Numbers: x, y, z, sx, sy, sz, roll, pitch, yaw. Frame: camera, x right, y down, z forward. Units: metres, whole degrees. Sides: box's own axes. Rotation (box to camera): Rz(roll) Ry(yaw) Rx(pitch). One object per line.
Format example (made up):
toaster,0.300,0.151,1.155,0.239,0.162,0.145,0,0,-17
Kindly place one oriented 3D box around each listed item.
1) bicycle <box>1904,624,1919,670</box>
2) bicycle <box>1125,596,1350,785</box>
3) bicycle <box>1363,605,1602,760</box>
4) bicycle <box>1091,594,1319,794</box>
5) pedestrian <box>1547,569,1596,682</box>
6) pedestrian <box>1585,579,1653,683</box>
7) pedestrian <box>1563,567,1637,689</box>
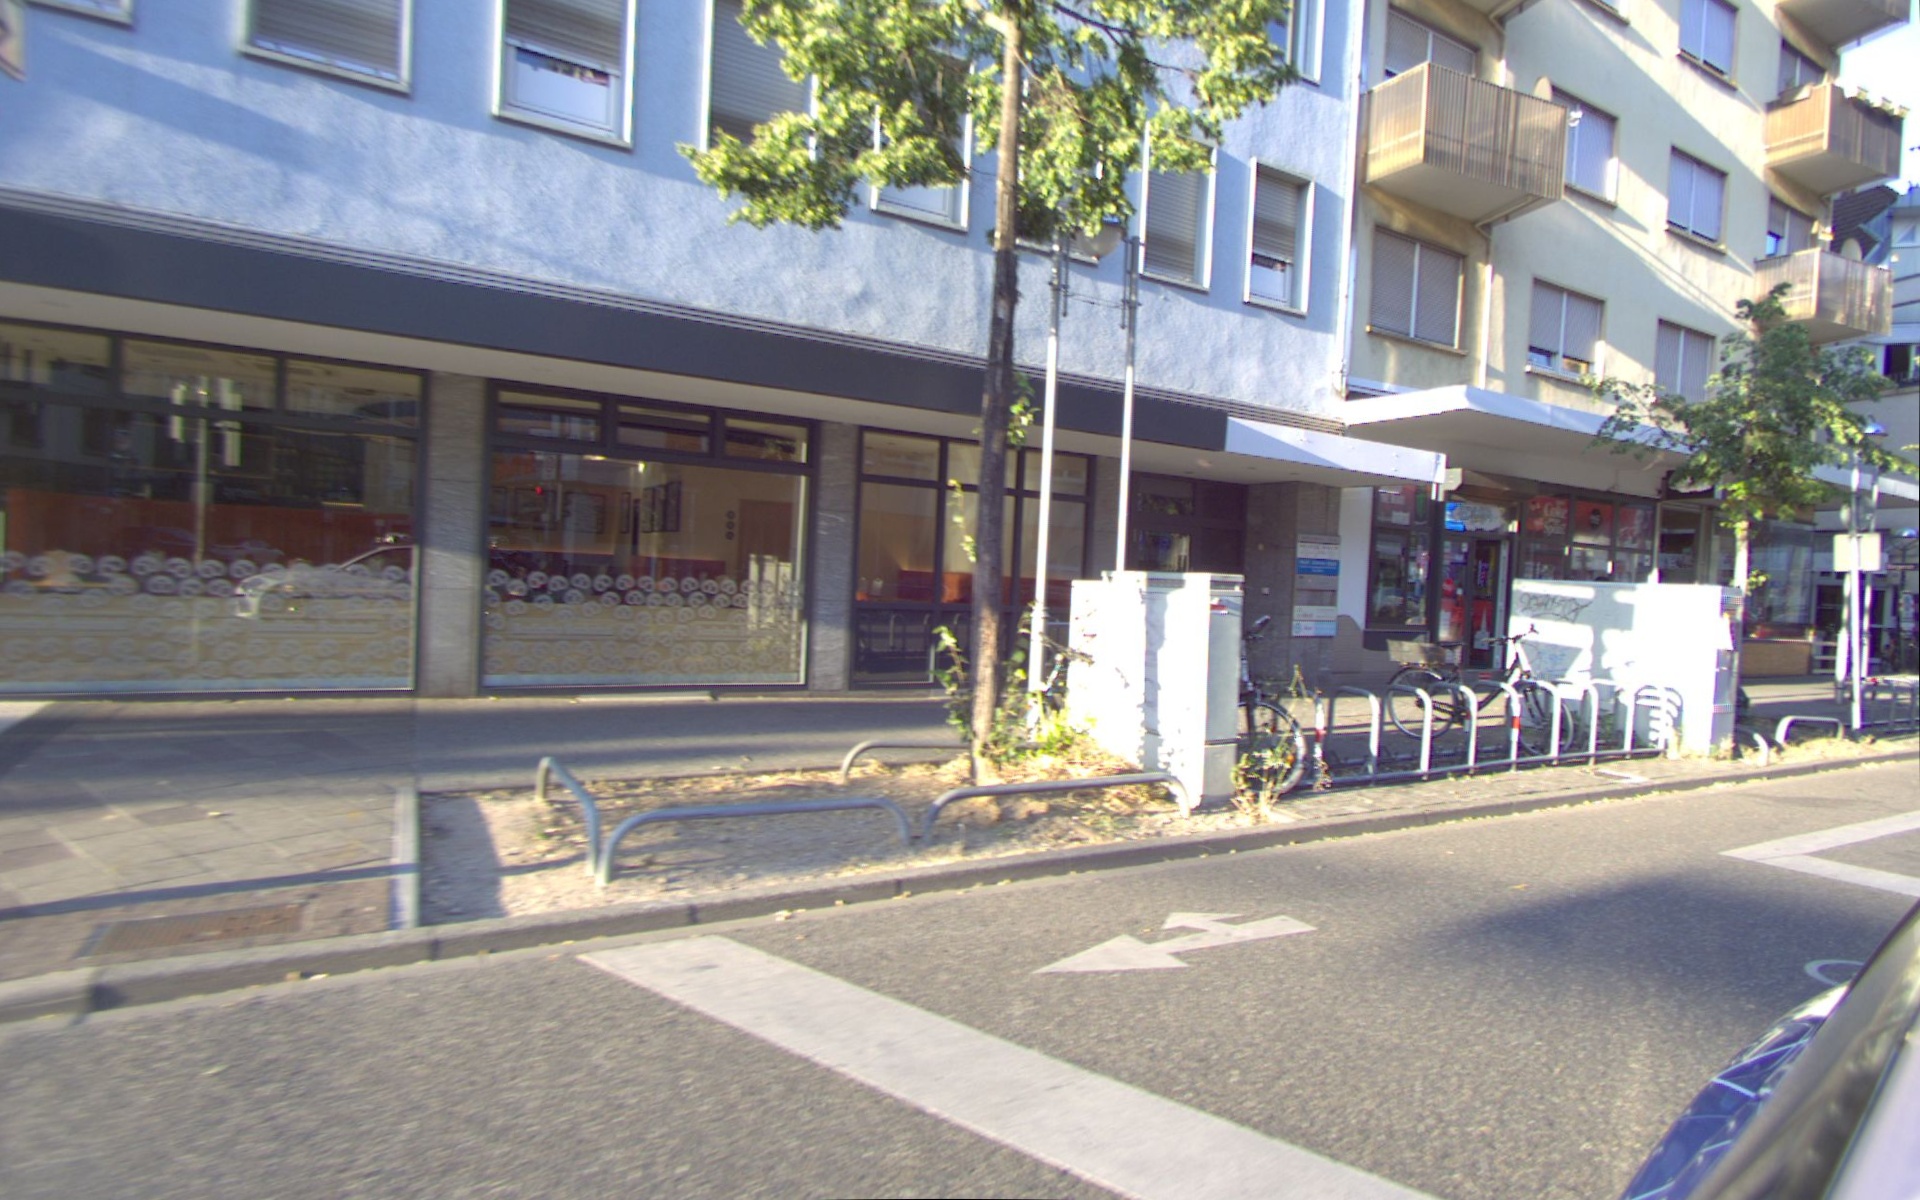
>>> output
bicycle,23.604,1.151,24.683,1.808,1.063,0.392,2,1,-33
bicycle,2.097,0.632,7.952,0.460,1.218,1.922,2,2,-28
bicycle,4.858,0.715,9.545,0.461,1.218,1.917,2,2,-40
bicycle,1.750,0.617,7.581,0.460,1.218,1.922,2,2,-28
pedestrian,10.054,0.415,16.636,0.579,1.805,0.520,1,-1,41
pedestrian,10.984,0.512,16.875,0.761,1.681,0.644,3,-1,-29
pedestrian,9.911,0.428,15.674,0.637,1.830,0.711,3,-1,-29
